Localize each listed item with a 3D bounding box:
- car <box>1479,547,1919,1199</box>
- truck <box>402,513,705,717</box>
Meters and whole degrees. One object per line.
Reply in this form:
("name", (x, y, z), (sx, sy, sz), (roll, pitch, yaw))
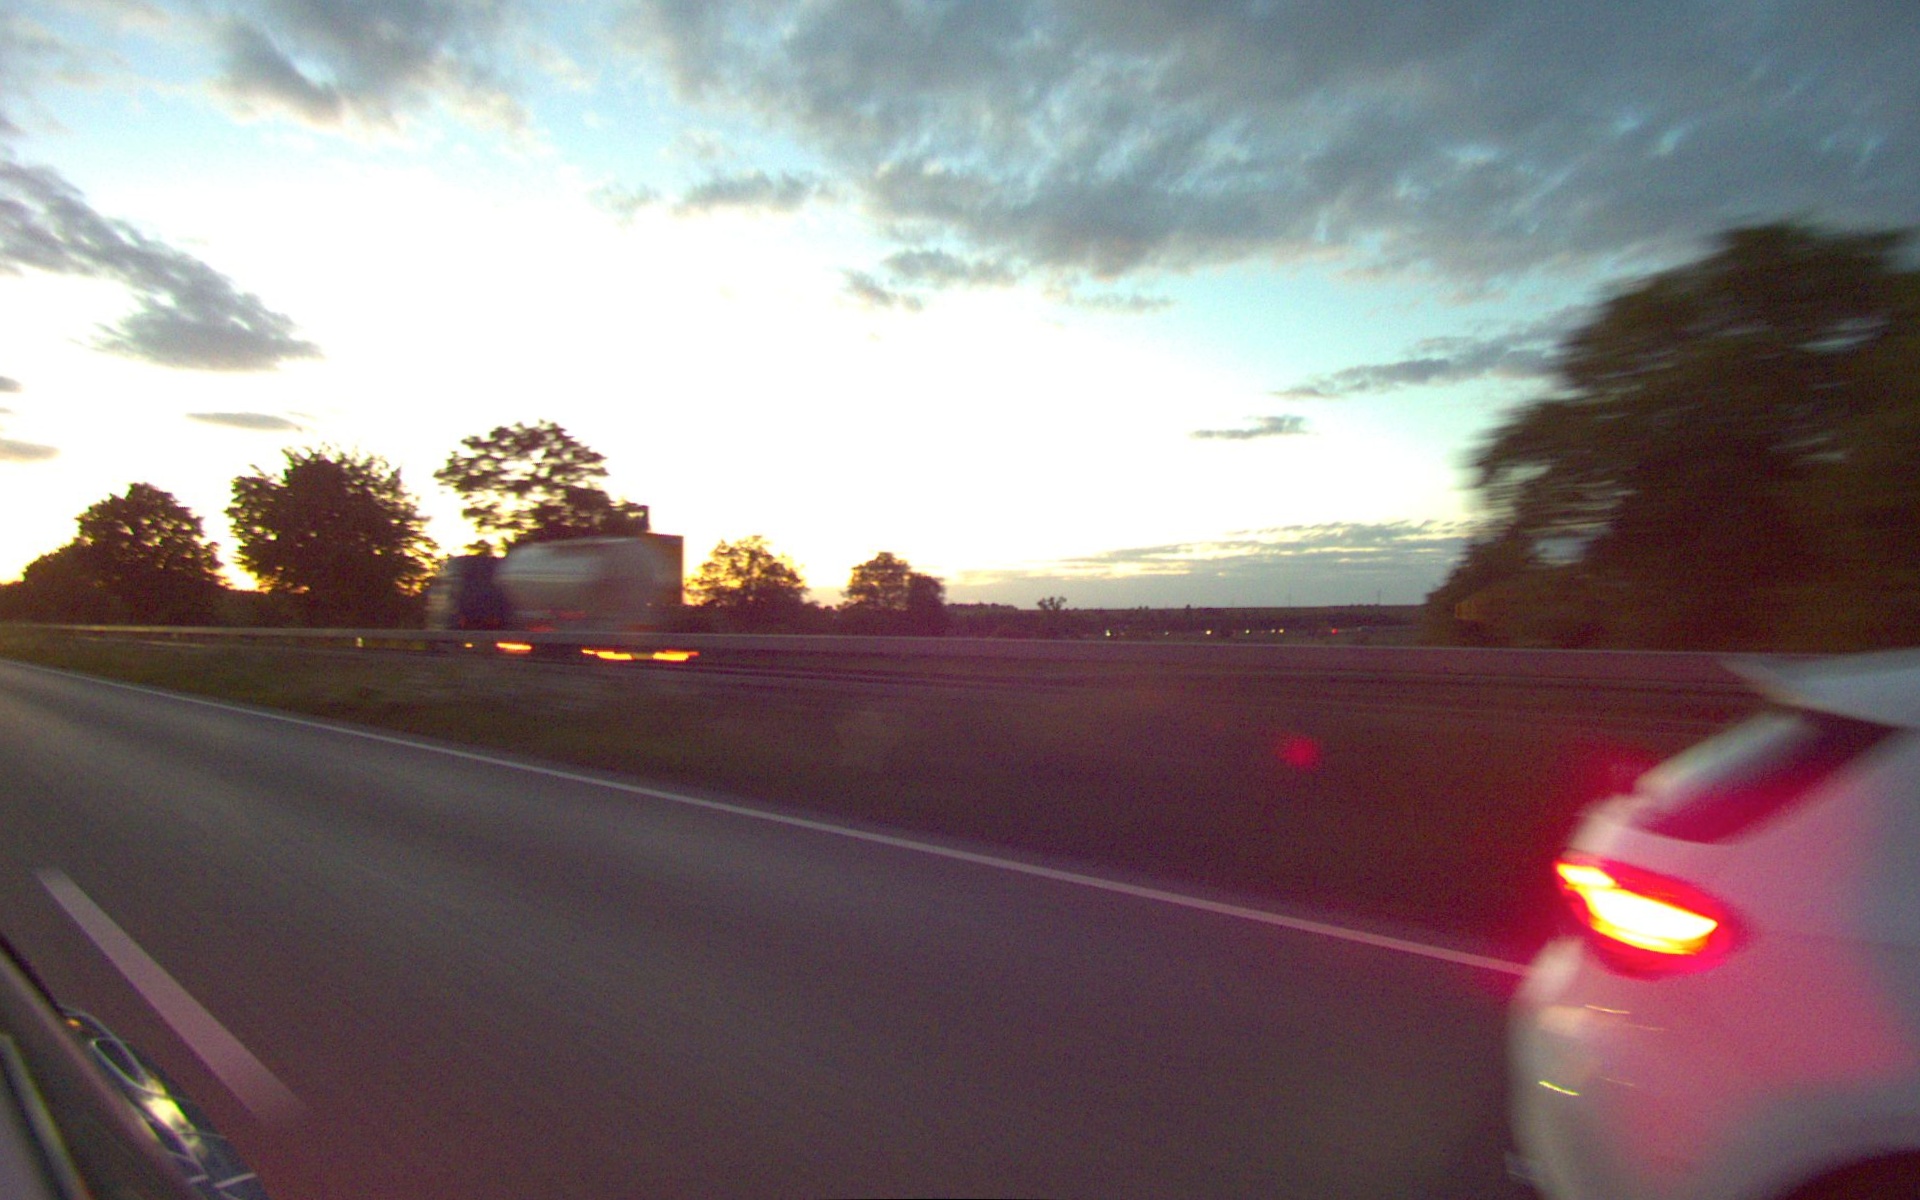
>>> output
("car", (3.187, 0.650, 0.928), (4.576, 1.502, 1.625), (-1, -1, 40))
("truck", (-13.106, 0.519, 31.595), (12.601, 5.296, 3.169), (-1, -3, 41))
